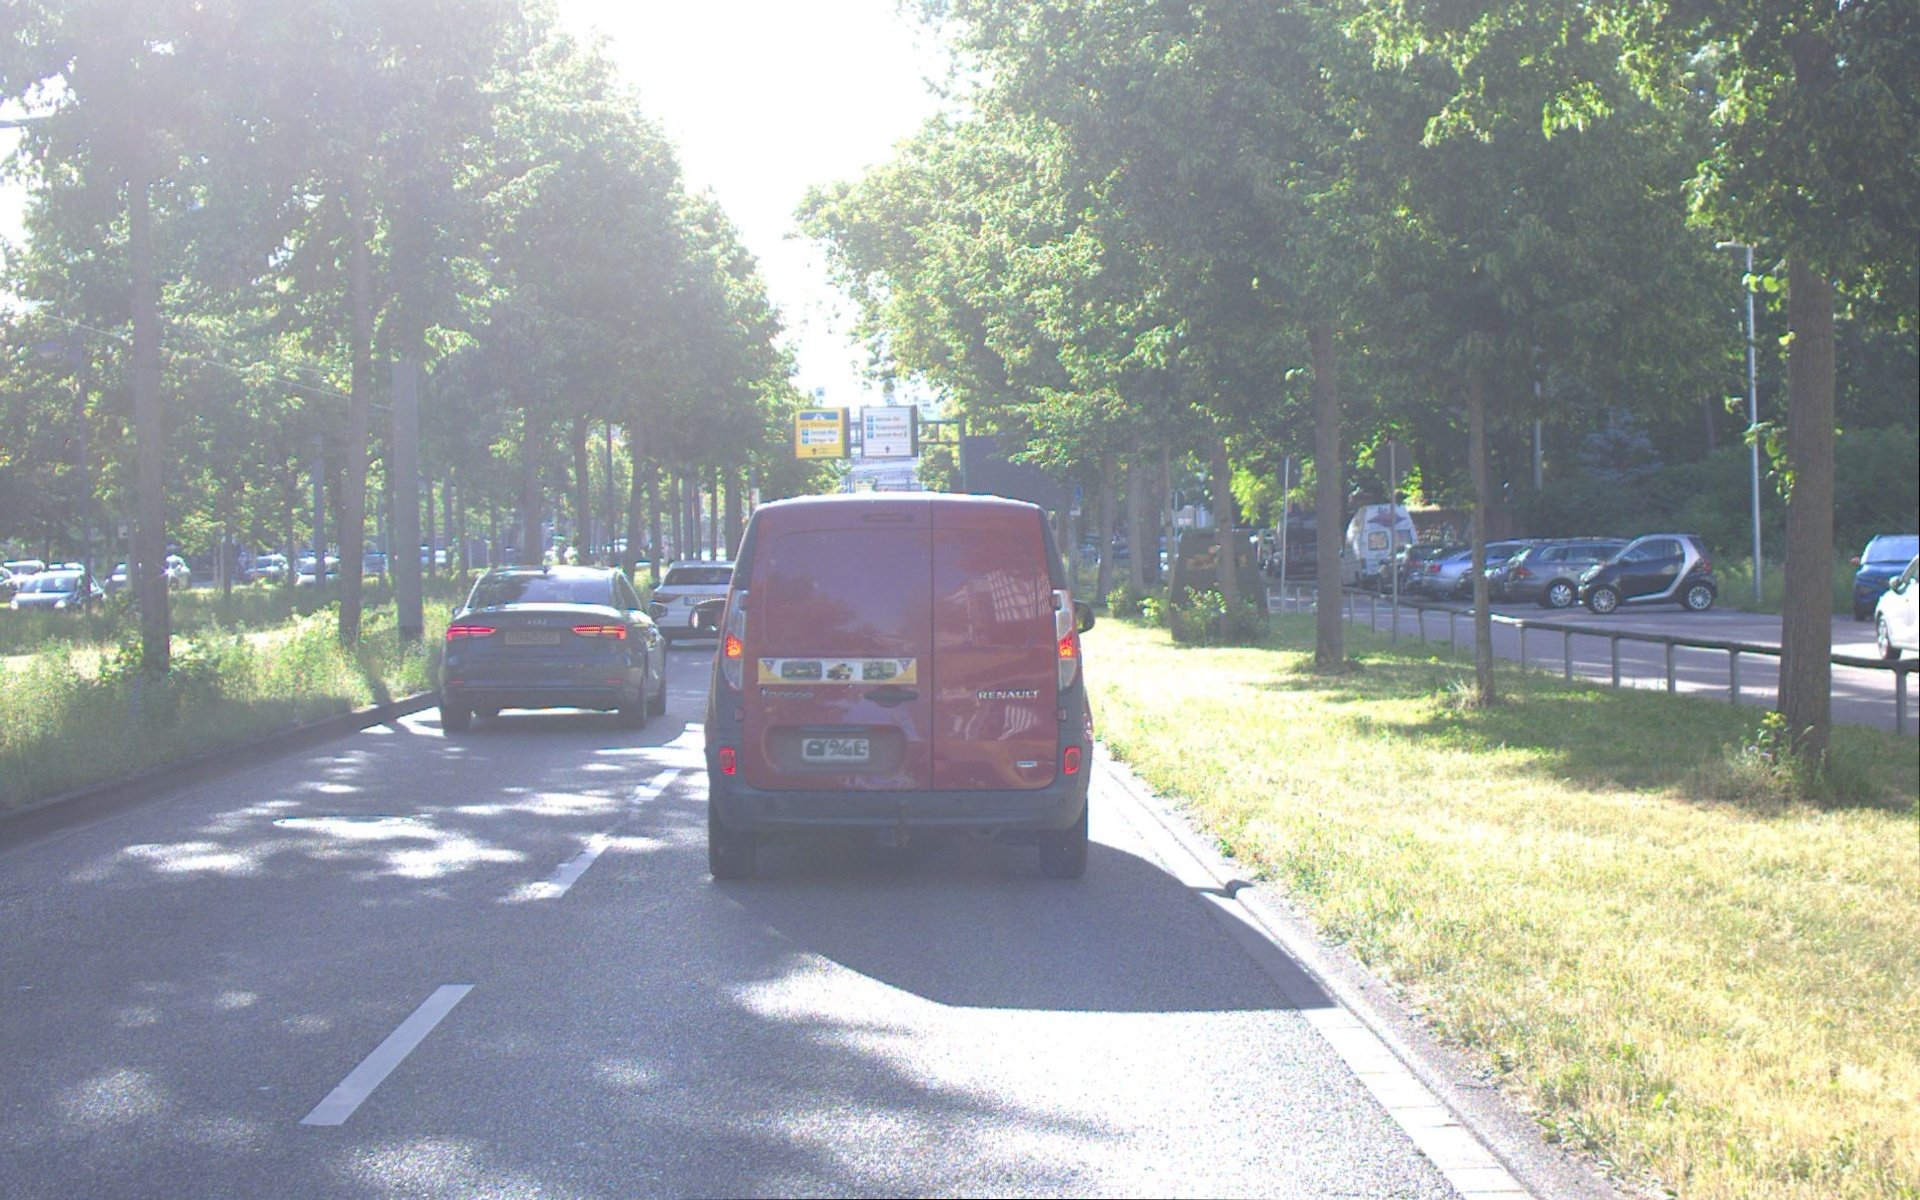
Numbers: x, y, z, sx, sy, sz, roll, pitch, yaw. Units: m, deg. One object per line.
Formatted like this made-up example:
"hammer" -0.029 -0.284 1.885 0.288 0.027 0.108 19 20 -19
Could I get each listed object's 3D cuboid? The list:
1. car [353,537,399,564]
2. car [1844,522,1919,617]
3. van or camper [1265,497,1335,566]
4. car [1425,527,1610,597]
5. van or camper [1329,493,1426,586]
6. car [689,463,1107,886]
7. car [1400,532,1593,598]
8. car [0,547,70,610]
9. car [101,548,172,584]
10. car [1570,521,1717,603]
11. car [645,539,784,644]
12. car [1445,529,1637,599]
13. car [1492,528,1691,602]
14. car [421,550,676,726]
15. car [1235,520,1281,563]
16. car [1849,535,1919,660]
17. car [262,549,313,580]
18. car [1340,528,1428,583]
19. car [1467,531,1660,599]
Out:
"car" -35.681 -3.041 210.193 1.993 1.603 4.611 1 1 0
"car" 16.976 -0.578 62.180 1.594 1.540 3.816 -1 2 19
"van or camper" 14.104 -2.864 142.754 2.557 2.675 6.564 -3 1 4
"car" 14.272 -0.977 88.165 4.381 1.406 2.000 -5 1 2
"van or camper" 13.041 -1.888 107.700 1.993 2.722 4.965 -3 1 -4
"car" -0.399 0.308 17.047 1.808 1.831 4.001 1 1 -4
"car" 14.186 -0.930 91.072 4.719 1.401 2.000 -4 1 0
"car" -22.403 -0.532 80.793 1.993 1.436 4.456 1 1 -3
"car" -34.221 -1.415 142.890 1.958 1.436 4.266 1 1 -1
"car" 13.706 -0.760 69.031 2.767 1.544 1.461 -2 0 9
"car" -3.933 -0.154 55.659 1.993 1.612 4.000 1 1 -1
"car" 14.454 -0.908 85.601 4.327 1.473 1.907 -3 2 -4
"car" 14.061 -0.780 76.725 4.080 1.463 1.715 -2 0 0
"car" -3.554 0.293 30.296 1.792 1.423 4.000 1 1 -1
"car" 14.229 -2.813 164.566 2.087 2.007 4.942 0 1 4
"car" 12.607 -0.085 42.753 1.994 1.481 4.402 -4 1 2
"car" -36.638 -1.928 187.390 1.879 1.615 4.611 1 1 0
"car" 12.535 -1.312 101.802 1.993 1.568 4.000 1 1 -1
"car" 14.382 -0.839 82.073 4.190 1.493 1.782 -2 1 -3
